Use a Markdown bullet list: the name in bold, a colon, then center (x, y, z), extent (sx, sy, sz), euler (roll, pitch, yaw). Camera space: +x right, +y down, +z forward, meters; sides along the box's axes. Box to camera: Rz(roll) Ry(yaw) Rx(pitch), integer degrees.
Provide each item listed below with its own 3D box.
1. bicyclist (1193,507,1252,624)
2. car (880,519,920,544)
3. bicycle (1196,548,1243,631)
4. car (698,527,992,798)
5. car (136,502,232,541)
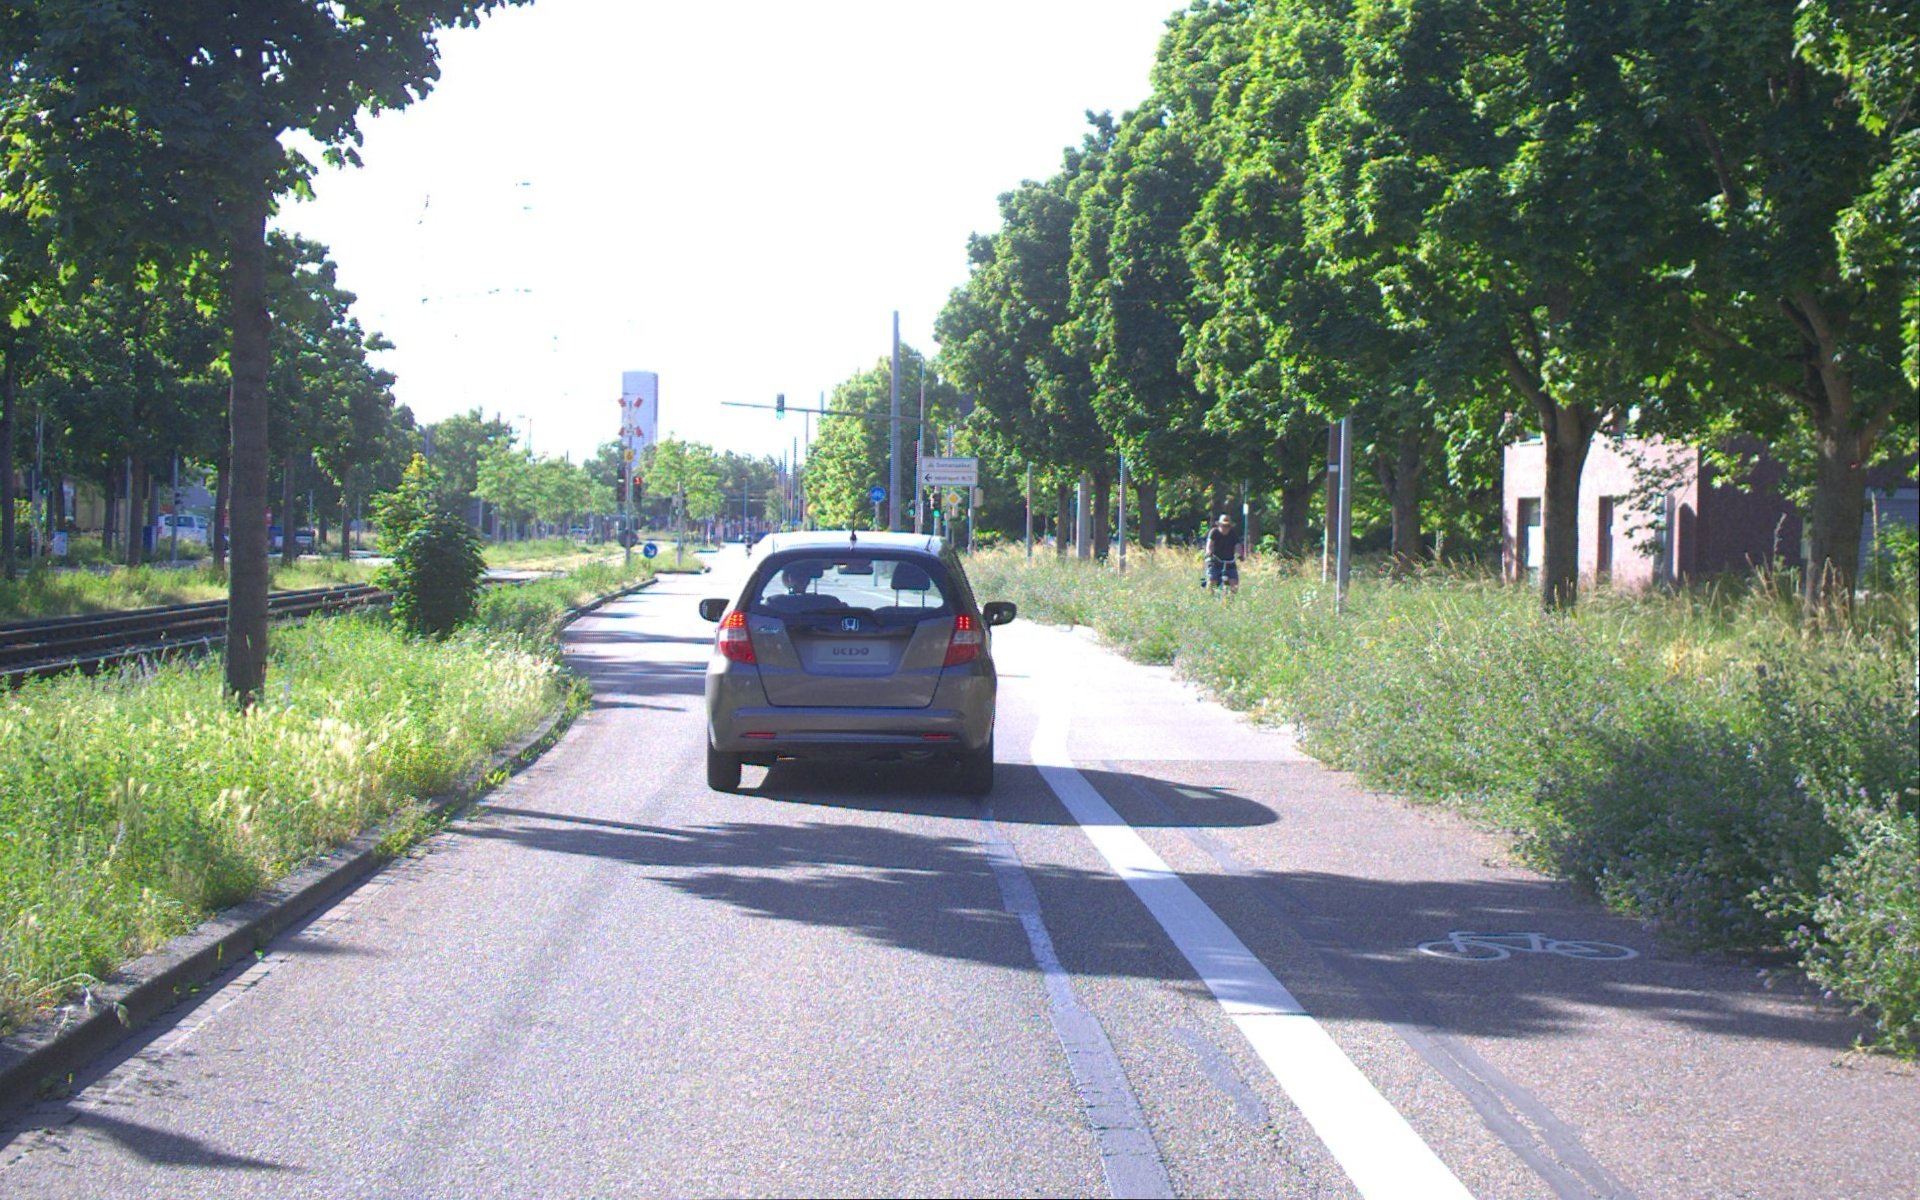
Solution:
- **bicyclist**: center (3.896, -0.508, 51.090), extent (0.683, 1.714, 0.903), euler (1, 0, -6)
- **car**: center (-3.304, -3.783, 189.936), extent (1.773, 1.382, 3.871), euler (0, 1, -8)
- **bicycle**: center (3.855, -0.146, 51.129), extent (0.483, 1.200, 2.143), euler (1, -1, -1)
- **car**: center (-0.701, 0.318, 20.932), extent (1.624, 1.494, 3.457), euler (1, 1, -2)
- **car**: center (-40.252, -4.059, 178.338), extent (1.859, 1.967, 4.776), euler (2, 2, 36)
